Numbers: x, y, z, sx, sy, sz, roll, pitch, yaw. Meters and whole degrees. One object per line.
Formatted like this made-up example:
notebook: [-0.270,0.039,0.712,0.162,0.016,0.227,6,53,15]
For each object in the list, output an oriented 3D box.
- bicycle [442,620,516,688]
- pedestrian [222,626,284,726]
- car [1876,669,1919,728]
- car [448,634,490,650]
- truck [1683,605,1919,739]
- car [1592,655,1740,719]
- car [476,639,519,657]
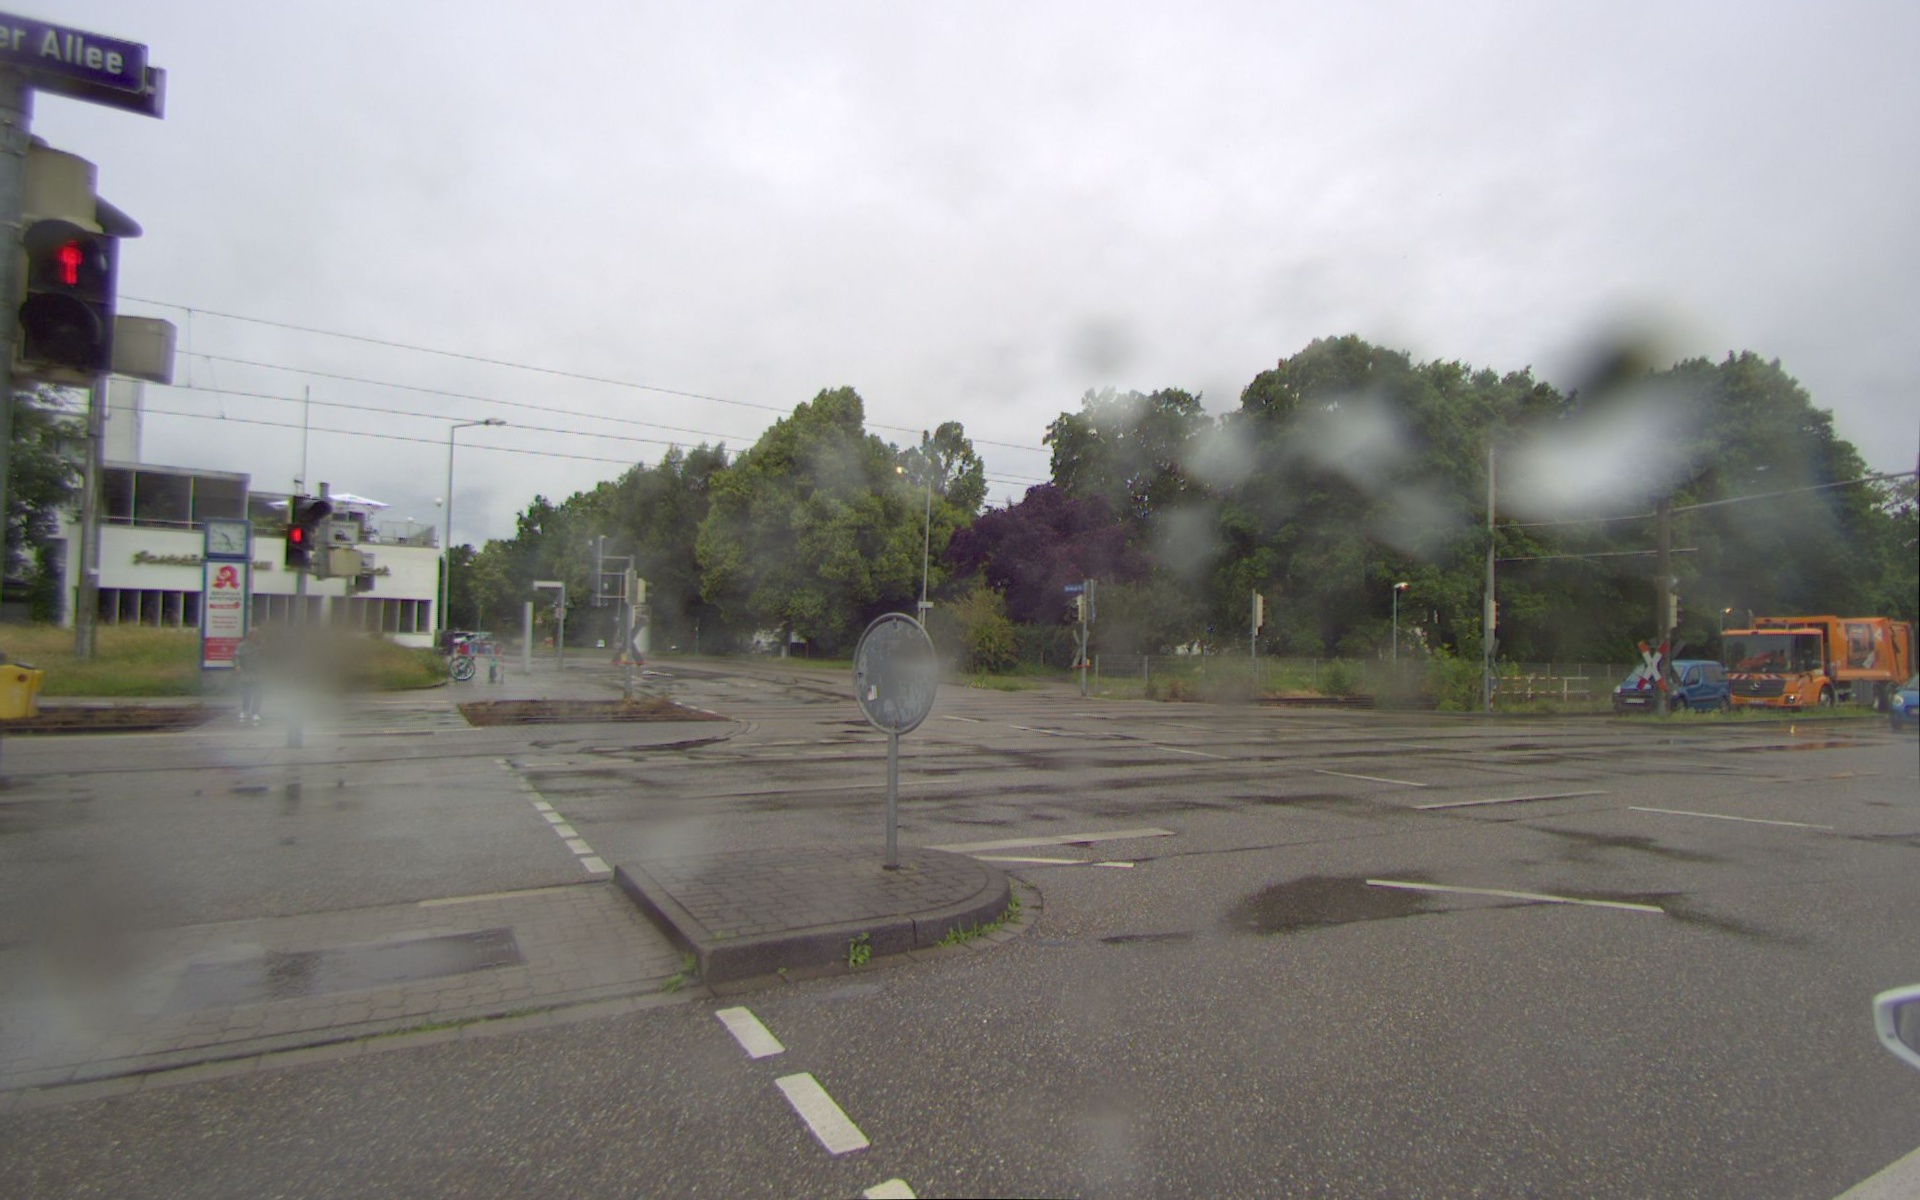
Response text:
bicycle: [-13.024,1.473,27.200,1.713,1.784,0.637,2,-2,-29]
pedestrian: [-12.446,1.322,17.704,0.774,1.679,0.797,3,-1,-32]
car: [25.438,2.545,25.942,3.957,1.445,1.632,4,-5,-32]
car: [-56.491,4.851,115.581,3.963,1.726,1.856,4,-1,-36]
truck: [30.545,2.574,36.167,10.286,4.222,3.369,3,-1,-30]
car: [21.878,2.689,31.123,4.472,1.732,1.985,3,-1,-29]
car: [-50.132,5.204,108.928,3.963,1.726,1.856,4,-1,-36]
